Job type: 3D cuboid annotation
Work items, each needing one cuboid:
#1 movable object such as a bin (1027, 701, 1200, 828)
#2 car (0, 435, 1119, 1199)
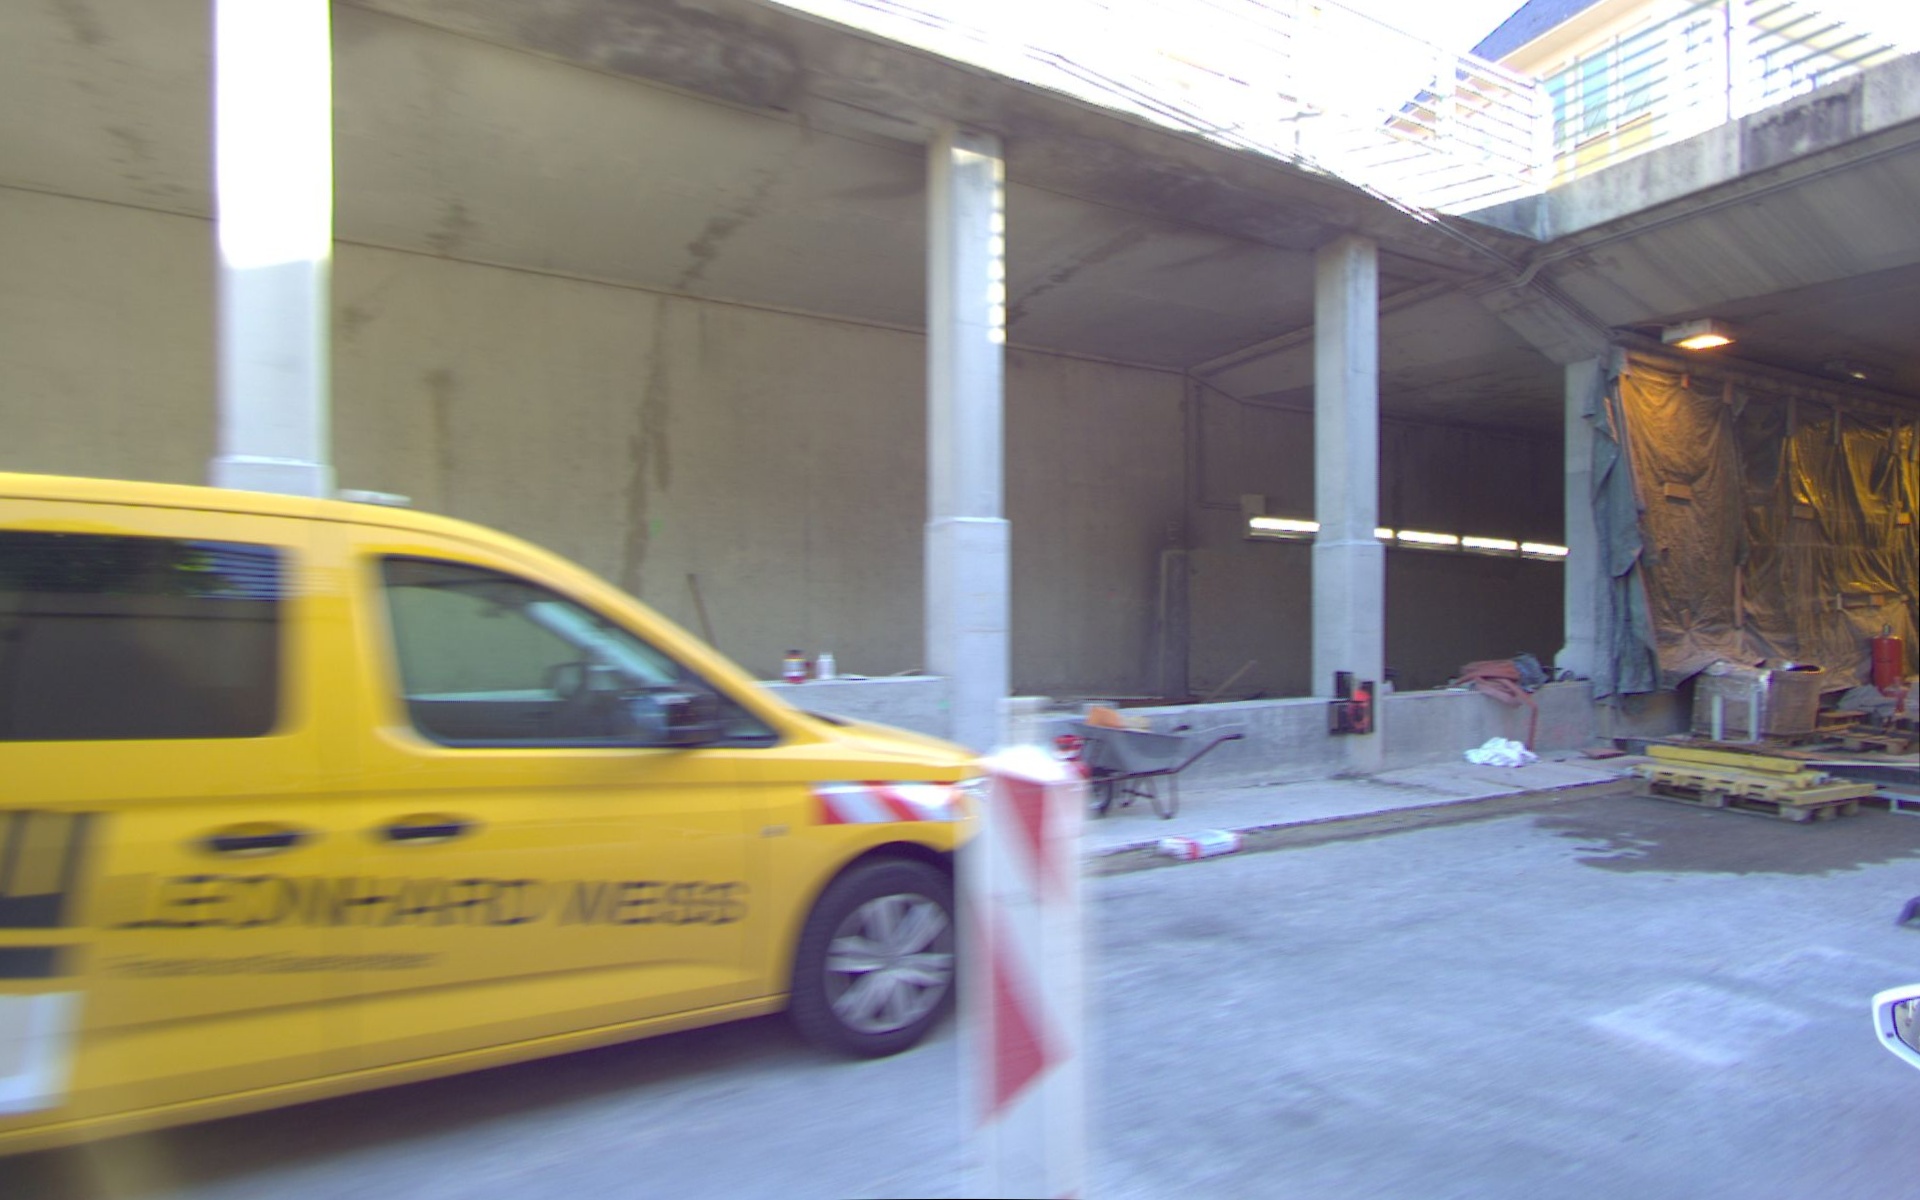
[{"bbox_3d":[1.077,1.121,7.065,1.020,0.751,0.648,2,-1,-31],"label":"movable object such as a bin"},{"bbox_3d":[-1.761,0.566,3.380,4.383,1.799,1.839,1,-1,-31],"label":"car"}]
